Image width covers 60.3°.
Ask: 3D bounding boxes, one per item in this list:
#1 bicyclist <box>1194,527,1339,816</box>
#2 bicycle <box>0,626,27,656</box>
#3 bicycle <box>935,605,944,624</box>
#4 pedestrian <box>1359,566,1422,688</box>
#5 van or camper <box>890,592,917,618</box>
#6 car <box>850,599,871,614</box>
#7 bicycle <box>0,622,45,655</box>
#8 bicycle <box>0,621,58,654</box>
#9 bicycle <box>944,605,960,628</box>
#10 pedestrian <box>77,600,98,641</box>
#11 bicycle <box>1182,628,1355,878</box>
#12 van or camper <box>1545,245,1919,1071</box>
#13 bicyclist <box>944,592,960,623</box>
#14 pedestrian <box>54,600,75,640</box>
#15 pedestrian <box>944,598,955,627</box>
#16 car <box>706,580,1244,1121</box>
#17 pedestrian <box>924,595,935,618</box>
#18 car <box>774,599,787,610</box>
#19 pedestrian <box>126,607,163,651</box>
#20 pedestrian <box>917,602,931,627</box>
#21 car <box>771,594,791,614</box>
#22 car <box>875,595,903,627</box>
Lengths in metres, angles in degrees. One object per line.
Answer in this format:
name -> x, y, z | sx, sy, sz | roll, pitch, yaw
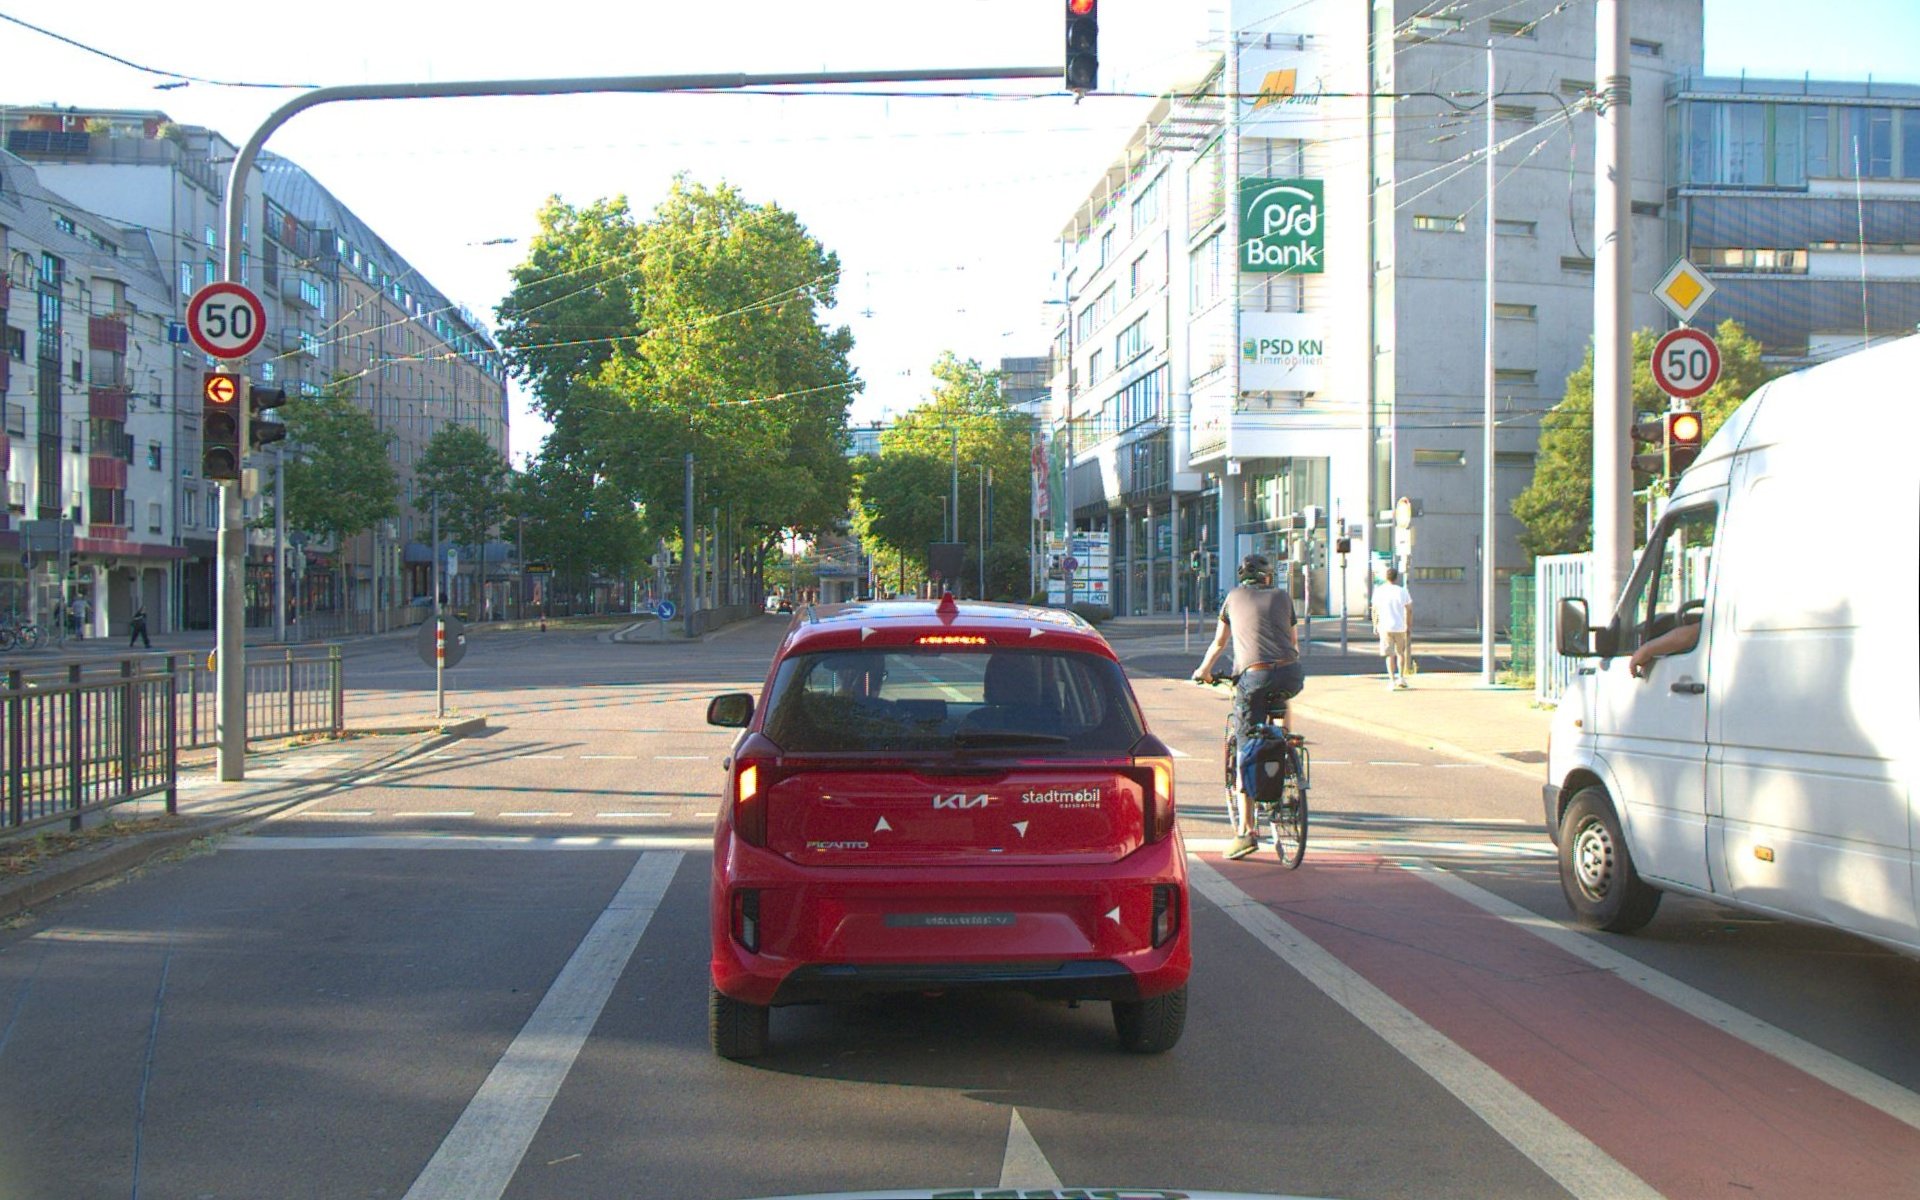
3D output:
bicyclist -> 1.813, 0.401, 9.905 | 0.637, 1.631, 1.088 | 0, 0, -1
bicycle -> -29.450, 1.249, 50.277 | 1.806, 0.869, 0.553 | 0, 0, -4
bicycle -> -1.199, 0.848, 97.035 | 0.510, 0.991, 2.201 | -4, 1, -1
pedestrian -> 6.710, 0.406, 25.831 | 0.761, 1.855, 1.216 | 0, 0, 6
van or camper -> -4.542, 0.391, 132.214 | 1.954, 2.024, 4.740 | 0, 0, -4
car -> -10.215, 0.639, 169.325 | 1.745, 1.561, 3.504 | 0, 0, -10
bicycle -> -29.599, 1.209, 51.541 | 1.808, 1.002, 0.552 | 0, 0, -8
bicycle -> -29.542, 1.183, 52.158 | 1.808, 1.002, 0.552 | 0, 0, -8
bicycle -> -0.413, 0.873, 88.786 | 0.683, 1.117, 1.749 | -4, 1, -4
pedestrian -> -33.252, 0.773, 63.038 | 0.524, 1.520, 0.586 | 0, 0, -9
bicycle -> 1.801, 0.842, 9.928 | 0.637, 1.303, 1.965 | 0, 0, -1
van or camper -> 4.187, 0.200, 5.438 | 1.930, 2.763, 6.300 | 1, 0, -4
bicyclist -> -0.445, 0.396, 88.723 | 0.707, 1.631, 1.088 | -3, 0, -4
pedestrian -> -33.991, 0.759, 62.777 | 0.524, 1.520, 0.586 | 0, 0, -9
pedestrian -> -0.609, 0.719, 97.055 | 0.633, 1.710, 0.651 | 0, 0, 1
car -> -0.097, 0.724, 6.555 | 1.582, 1.561, 3.408 | 0, 0, -5
pedestrian -> -2.408, 0.476, 129.785 | 0.873, 1.783, 0.841 | 0, 0, -1
car -> -27.781, 0.675, 255.397 | 1.745, 1.561, 3.403 | 0, 0, -10
pedestrian -> -29.005, 1.026, 58.795 | 1.025, 1.571, 0.694 | -1, 0, 26
pedestrian -> -2.486, 1.006, 113.958 | 0.629, 1.607, 0.723 | -4, 0, 22
car -> -18.963, 0.447, 175.197 | 1.956, 2.049, 3.992 | 0, 0, -8
car -> -4.193, 0.620, 97.413 | 1.603, 1.831, 3.327 | 0, 0, -3
